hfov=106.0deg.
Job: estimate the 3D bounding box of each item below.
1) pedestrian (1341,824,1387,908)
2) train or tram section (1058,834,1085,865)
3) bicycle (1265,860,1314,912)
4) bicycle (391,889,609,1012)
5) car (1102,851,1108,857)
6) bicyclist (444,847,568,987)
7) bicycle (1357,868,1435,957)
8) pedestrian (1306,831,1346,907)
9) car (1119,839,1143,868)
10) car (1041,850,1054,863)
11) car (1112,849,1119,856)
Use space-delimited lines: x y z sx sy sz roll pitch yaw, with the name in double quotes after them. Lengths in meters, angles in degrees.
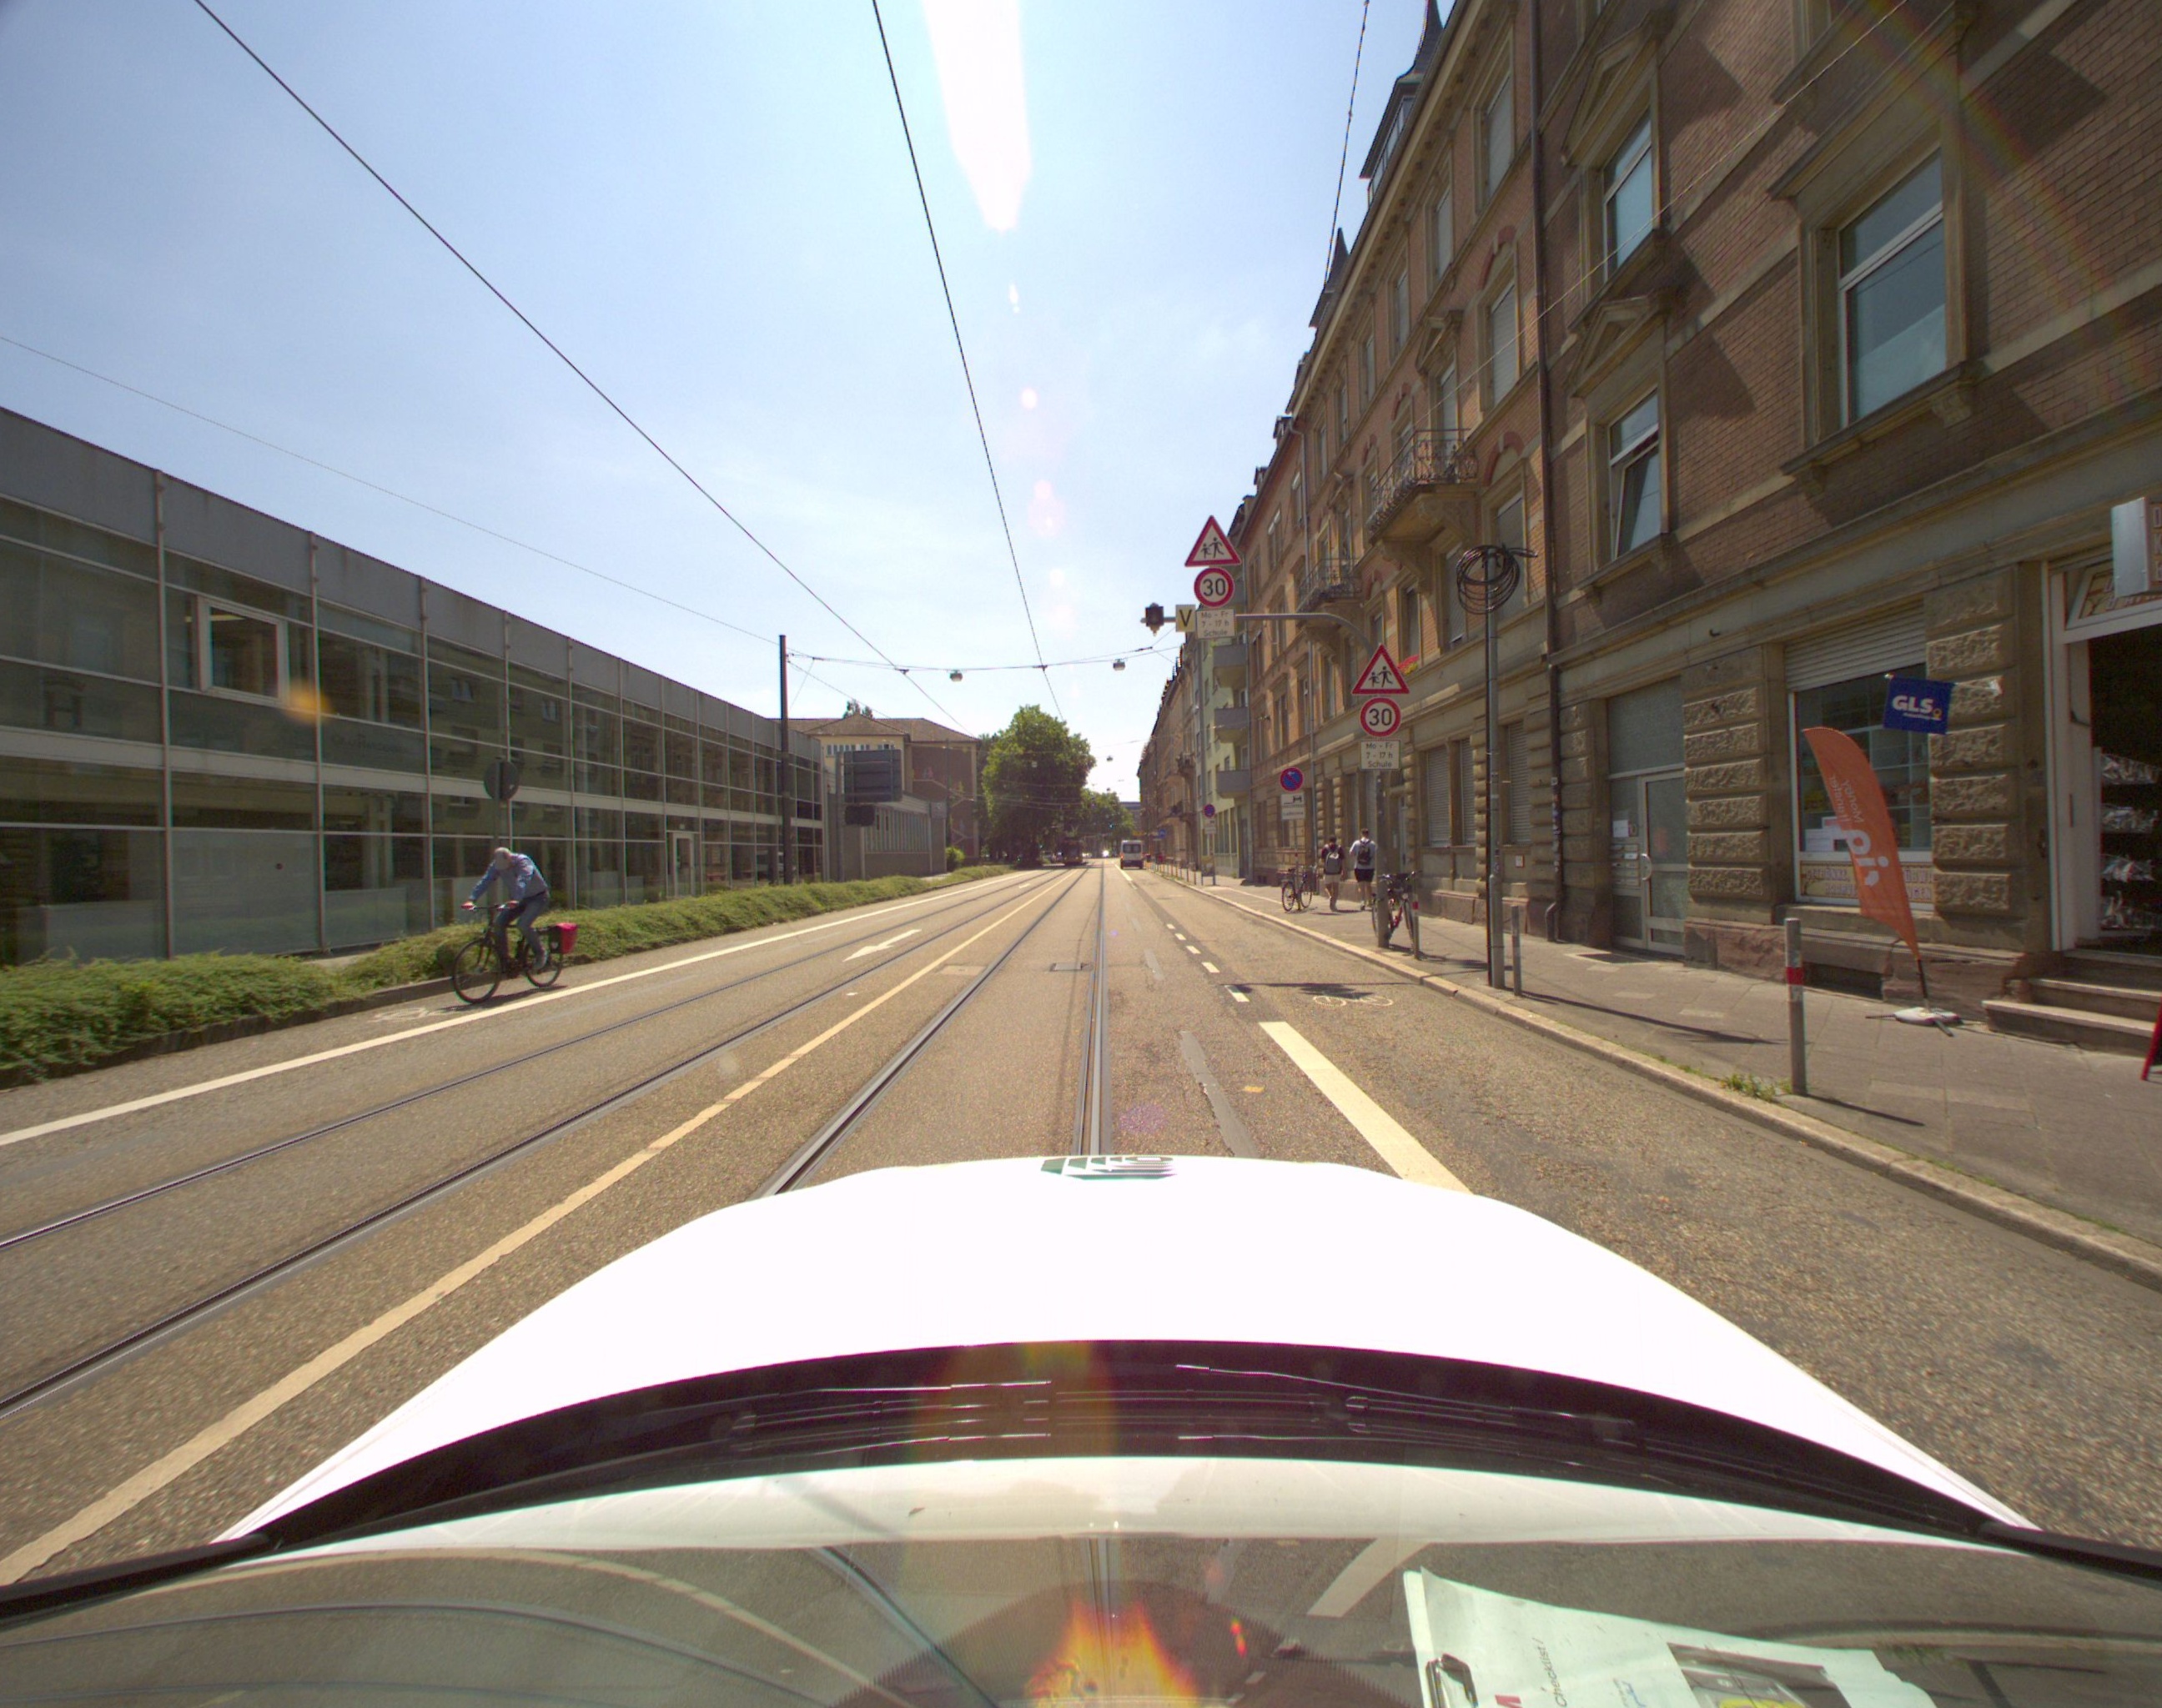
6.530 0.267 18.818 0.699 1.848 0.644 -5 0 2 "pedestrian"
-1.107 -0.594 104.225 2.950 3.580 13.426 -2 0 1 "train or tram section"
5.030 0.742 19.549 0.494 1.130 2.257 -2 0 30 "bicycle"
-6.748 1.056 9.698 0.695 1.144 2.497 -2 0 2 "bicycle"
6.296 0.001 213.045 1.523 1.408 3.488 -1 0 -1 "car"
-6.767 0.705 9.632 0.695 1.548 0.981 -2 0 2 "bicyclist"
4.508 0.781 11.797 0.445 1.097 2.427 -2 0 7 "bicycle"
5.720 0.346 19.055 0.717 1.720 0.644 -2 0 2 "pedestrian"
4.448 -0.081 73.381 2.059 2.501 5.458 -1 0 3 "car"
-5.083 0.365 123.666 1.795 1.923 3.999 -1 0 -1 "car"
9.313 -0.433 220.759 1.669 1.860 3.998 -1 0 -1 "car"
